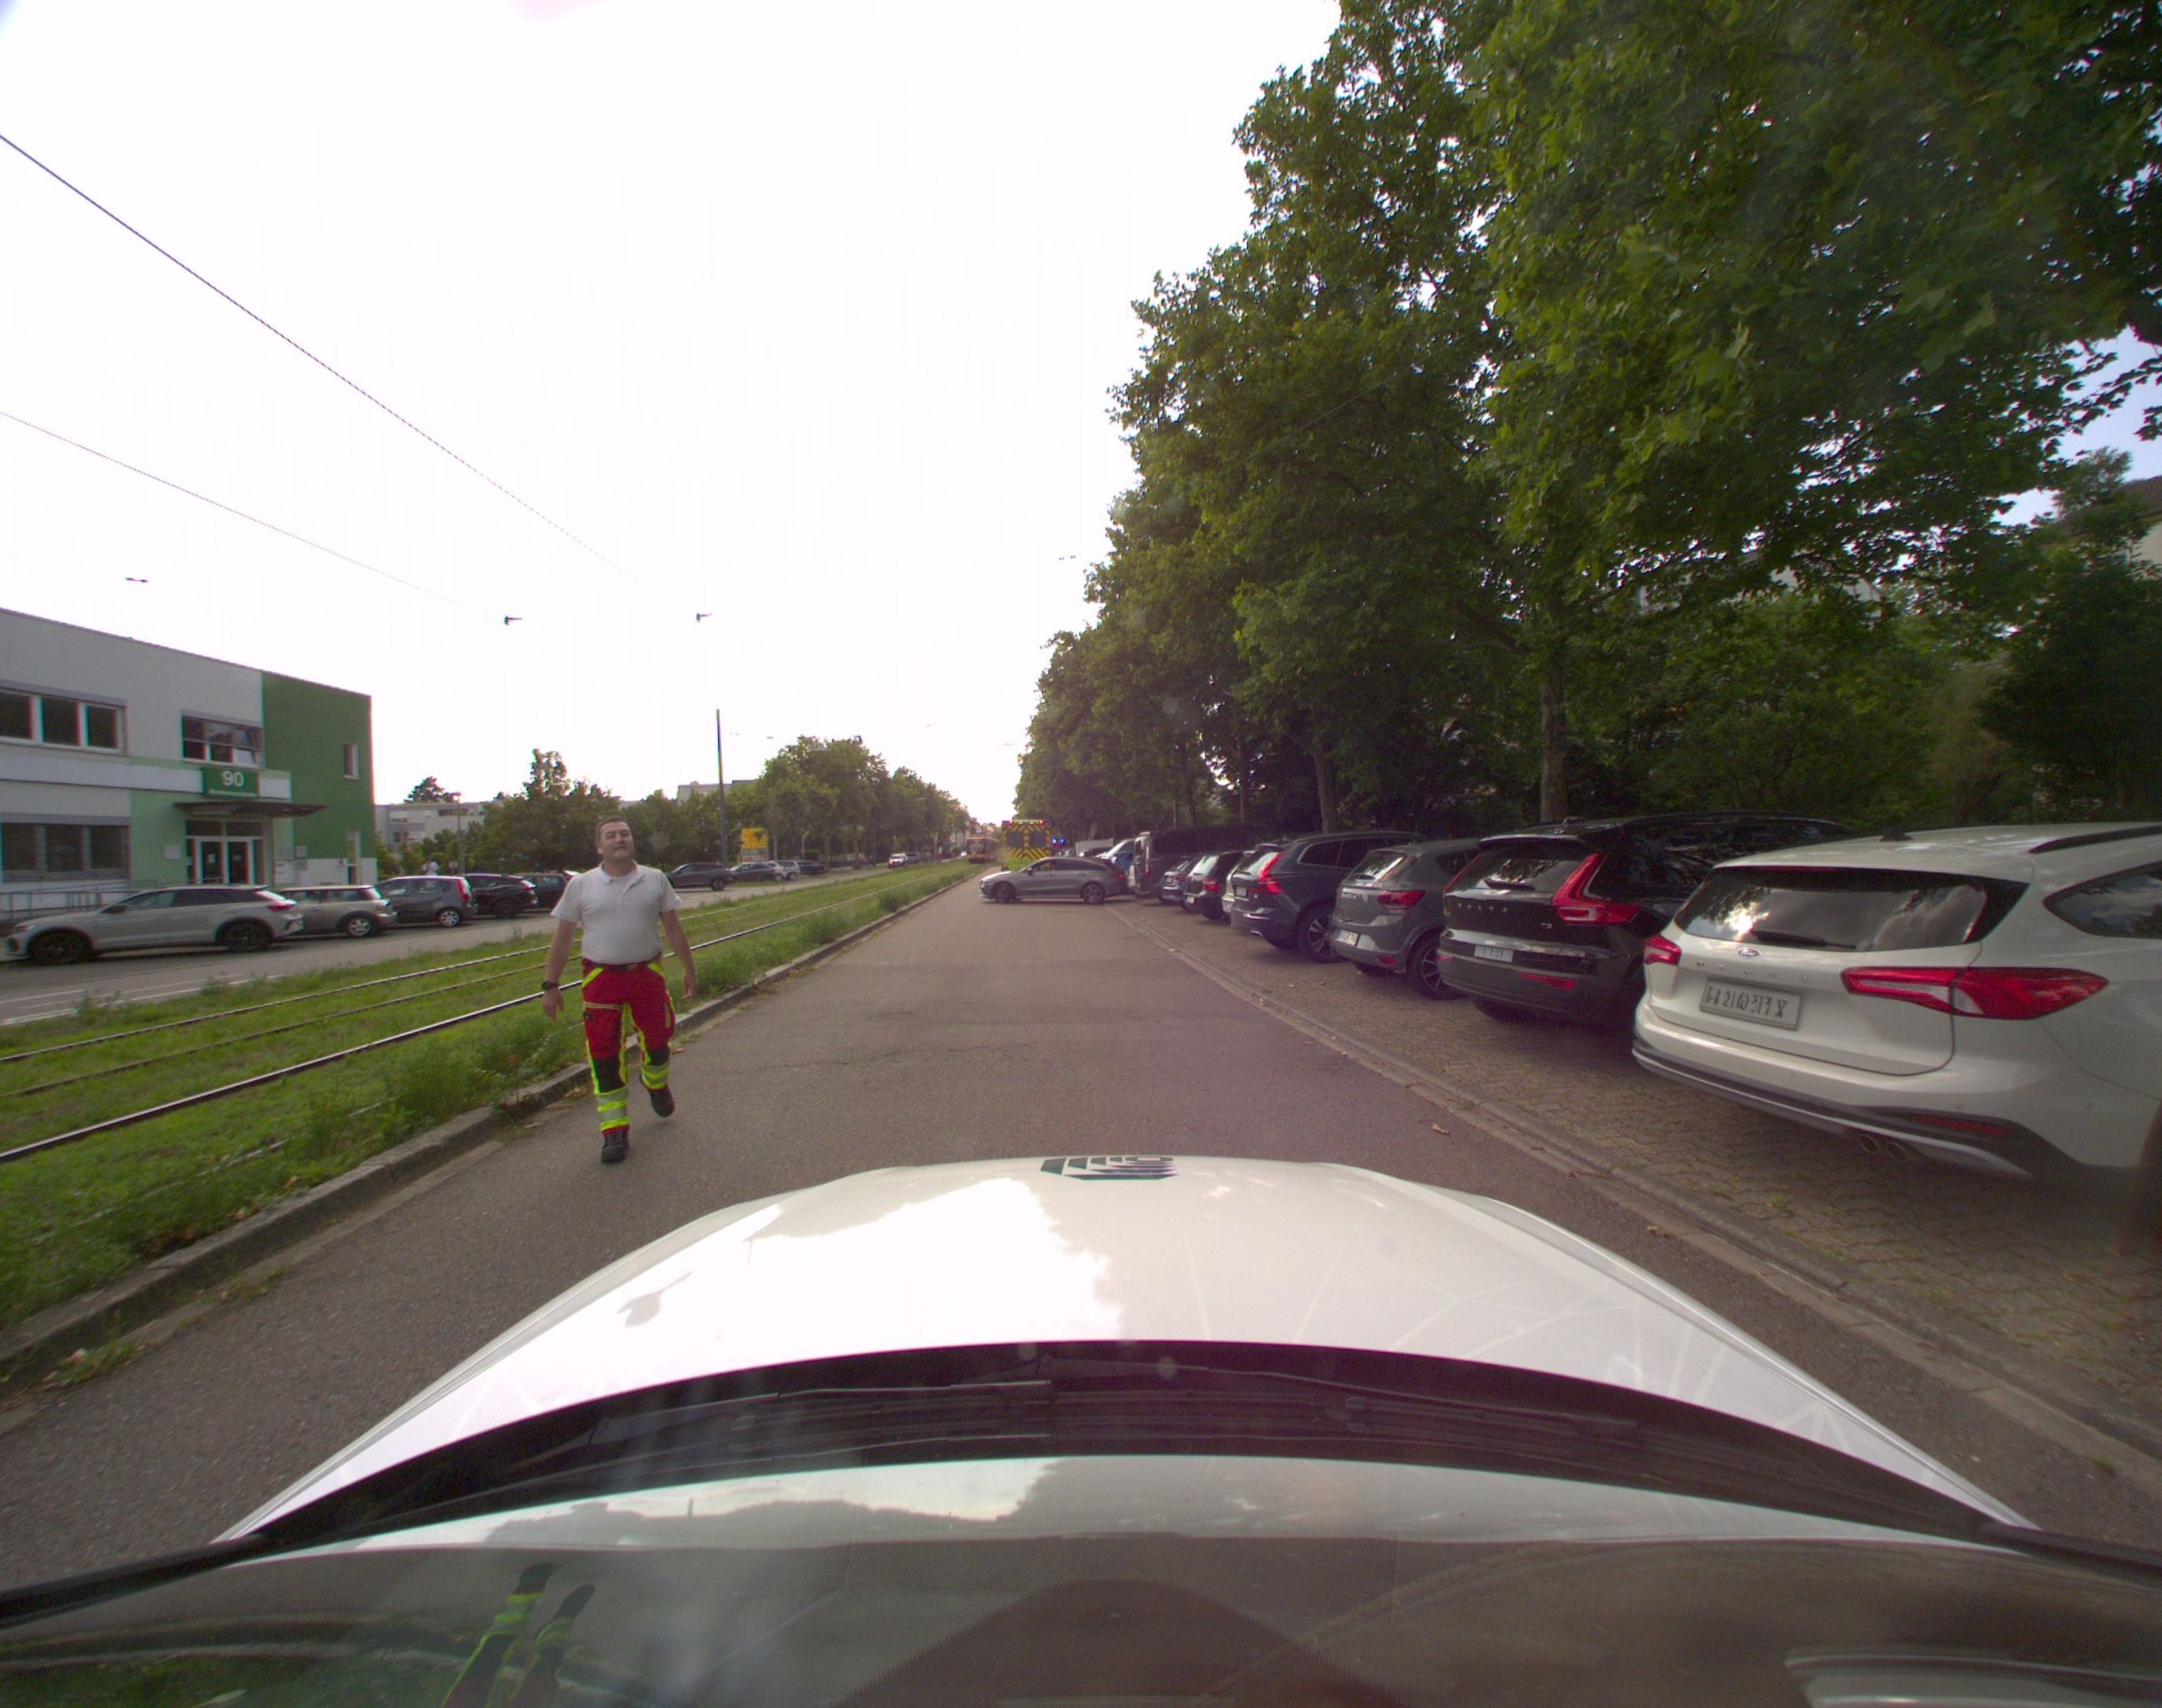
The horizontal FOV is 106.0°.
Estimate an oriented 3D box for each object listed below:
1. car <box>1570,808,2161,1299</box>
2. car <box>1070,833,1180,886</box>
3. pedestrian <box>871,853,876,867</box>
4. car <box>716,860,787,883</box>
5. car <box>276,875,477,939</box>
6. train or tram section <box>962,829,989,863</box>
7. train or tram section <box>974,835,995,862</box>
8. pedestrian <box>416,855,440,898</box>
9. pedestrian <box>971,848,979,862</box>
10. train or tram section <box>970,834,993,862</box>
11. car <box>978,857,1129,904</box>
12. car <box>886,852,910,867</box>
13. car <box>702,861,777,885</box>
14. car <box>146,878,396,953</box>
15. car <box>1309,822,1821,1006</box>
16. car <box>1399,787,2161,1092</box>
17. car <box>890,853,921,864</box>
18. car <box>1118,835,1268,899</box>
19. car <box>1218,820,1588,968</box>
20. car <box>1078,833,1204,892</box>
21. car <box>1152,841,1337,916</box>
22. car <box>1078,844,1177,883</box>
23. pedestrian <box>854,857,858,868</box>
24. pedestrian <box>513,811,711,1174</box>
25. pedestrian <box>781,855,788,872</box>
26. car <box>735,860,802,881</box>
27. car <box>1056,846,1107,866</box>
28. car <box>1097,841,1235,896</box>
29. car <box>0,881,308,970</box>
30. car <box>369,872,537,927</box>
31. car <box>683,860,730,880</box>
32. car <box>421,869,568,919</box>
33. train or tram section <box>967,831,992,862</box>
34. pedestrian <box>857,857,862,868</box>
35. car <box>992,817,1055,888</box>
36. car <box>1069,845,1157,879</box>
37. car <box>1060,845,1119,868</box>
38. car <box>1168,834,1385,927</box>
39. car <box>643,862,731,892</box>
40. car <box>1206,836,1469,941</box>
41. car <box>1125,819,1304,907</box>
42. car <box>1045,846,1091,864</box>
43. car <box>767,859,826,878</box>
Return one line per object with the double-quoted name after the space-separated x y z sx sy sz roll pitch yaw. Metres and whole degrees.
5.098 0.549 3.836 4.656 1.473 1.843 -3 1 -8 "car"
1.912 0.226 36.264 4.543 2.043 1.850 -3 0 -9 "car"
-26.191 0.732 102.847 0.421 1.730 0.466 -2 0 -9 "pedestrian"
-23.259 1.201 57.559 4.257 1.482 1.861 -1 0 -40 "car"
-20.645 1.492 24.147 4.252 1.482 1.864 -3 1 -34 "car"
-12.033 -0.888 93.751 2.507 3.584 7.433 -3 0 -4 "train or tram section"
-13.705 -0.662 115.973 2.507 3.584 7.433 -3 0 -4 "train or tram section"
-28.811 0.990 35.934 0.545 1.828 0.508 -2 0 -6 "pedestrian"
-11.603 0.158 89.140 0.879 1.525 0.749 0 -1 -5 "pedestrian"
-13.155 -0.737 108.562 2.507 3.584 7.433 -3 0 -4 "train or tram section"
-0.797 0.777 25.246 4.430 1.385 1.770 0 0 6 "car"
-21.122 0.659 94.045 1.990 1.557 4.362 -3 1 -5 "car"
-22.932 1.251 54.720 4.257 1.482 1.861 -1 0 -40 "car"
-20.667 1.507 21.086 4.252 1.482 1.864 -3 1 -34 "car"
4.857 0.542 8.571 4.371 1.501 1.754 -3 1 -3 "car"
5.049 0.468 6.066 4.656 1.626 1.843 -3 1 -8 "car"
-28.695 0.686 133.063 4.654 1.633 1.860 -3 1 -43 "car"
3.613 0.402 26.721 4.538 1.766 1.853 -3 0 -5 "car"
4.261 0.494 11.225 4.371 1.639 1.754 -3 0 -3 "car"
2.283 0.302 31.691 4.543 2.000 1.850 -3 0 -9 "car"
3.842 0.559 19.513 3.959 1.494 1.753 -3 0 -5 "car"
2.236 0.444 39.768 4.543 1.608 1.850 -3 0 -9 "car"
-29.470 1.133 106.663 0.421 1.473 0.466 -2 0 -9 "pedestrian"
-2.437 0.638 4.343 0.807 1.686 0.844 -1 0 -25 "pedestrian"
-29.418 0.979 80.784 0.465 1.676 0.602 -2 0 -6 "pedestrian"
-23.256 1.207 60.633 4.257 1.482 1.861 -1 0 -40 "car"
0.023 0.144 76.222 4.543 1.608 1.850 -3 0 -9 "car"
2.992 0.483 29.208 4.545 1.660 1.850 -3 0 -9 "car"
-20.332 1.485 18.175 4.256 1.482 1.862 -3 1 -39 "car"
-20.787 1.451 27.226 4.252 1.482 1.864 -3 1 -34 "car"
-35.485 1.494 77.234 3.950 1.750 2.012 0 0 27 "car"
-21.558 1.424 30.137 4.252 1.482 1.864 -3 1 -34 "car"
-12.597 -0.813 101.150 2.507 3.584 7.433 -3 0 -4 "train or tram section"
-29.510 1.115 108.525 0.417 1.414 0.470 -2 0 20 "pedestrian"
-2.584 -0.063 37.928 2.635 2.966 6.293 1 0 -3 "car"
1.727 0.408 44.893 4.543 1.608 1.850 -3 0 -9 "car"
0.652 0.172 66.405 4.543 1.608 1.850 -3 0 -9 "car"
3.999 0.495 16.843 3.973 1.605 1.747 -3 0 -15 "car"
-21.625 1.243 44.671 4.247 1.482 1.866 -1 0 -29 "car"
4.343 0.544 14.148 3.959 1.494 1.753 -3 0 -5 "car"
3.659 0.240 22.750 4.538 2.123 1.853 -3 0 -5 "car"
-1.400 0.099 84.356 4.543 1.608 1.850 -3 0 -9 "car"
-23.990 1.223 68.793 4.259 1.482 1.860 -1 0 -44 "car"
